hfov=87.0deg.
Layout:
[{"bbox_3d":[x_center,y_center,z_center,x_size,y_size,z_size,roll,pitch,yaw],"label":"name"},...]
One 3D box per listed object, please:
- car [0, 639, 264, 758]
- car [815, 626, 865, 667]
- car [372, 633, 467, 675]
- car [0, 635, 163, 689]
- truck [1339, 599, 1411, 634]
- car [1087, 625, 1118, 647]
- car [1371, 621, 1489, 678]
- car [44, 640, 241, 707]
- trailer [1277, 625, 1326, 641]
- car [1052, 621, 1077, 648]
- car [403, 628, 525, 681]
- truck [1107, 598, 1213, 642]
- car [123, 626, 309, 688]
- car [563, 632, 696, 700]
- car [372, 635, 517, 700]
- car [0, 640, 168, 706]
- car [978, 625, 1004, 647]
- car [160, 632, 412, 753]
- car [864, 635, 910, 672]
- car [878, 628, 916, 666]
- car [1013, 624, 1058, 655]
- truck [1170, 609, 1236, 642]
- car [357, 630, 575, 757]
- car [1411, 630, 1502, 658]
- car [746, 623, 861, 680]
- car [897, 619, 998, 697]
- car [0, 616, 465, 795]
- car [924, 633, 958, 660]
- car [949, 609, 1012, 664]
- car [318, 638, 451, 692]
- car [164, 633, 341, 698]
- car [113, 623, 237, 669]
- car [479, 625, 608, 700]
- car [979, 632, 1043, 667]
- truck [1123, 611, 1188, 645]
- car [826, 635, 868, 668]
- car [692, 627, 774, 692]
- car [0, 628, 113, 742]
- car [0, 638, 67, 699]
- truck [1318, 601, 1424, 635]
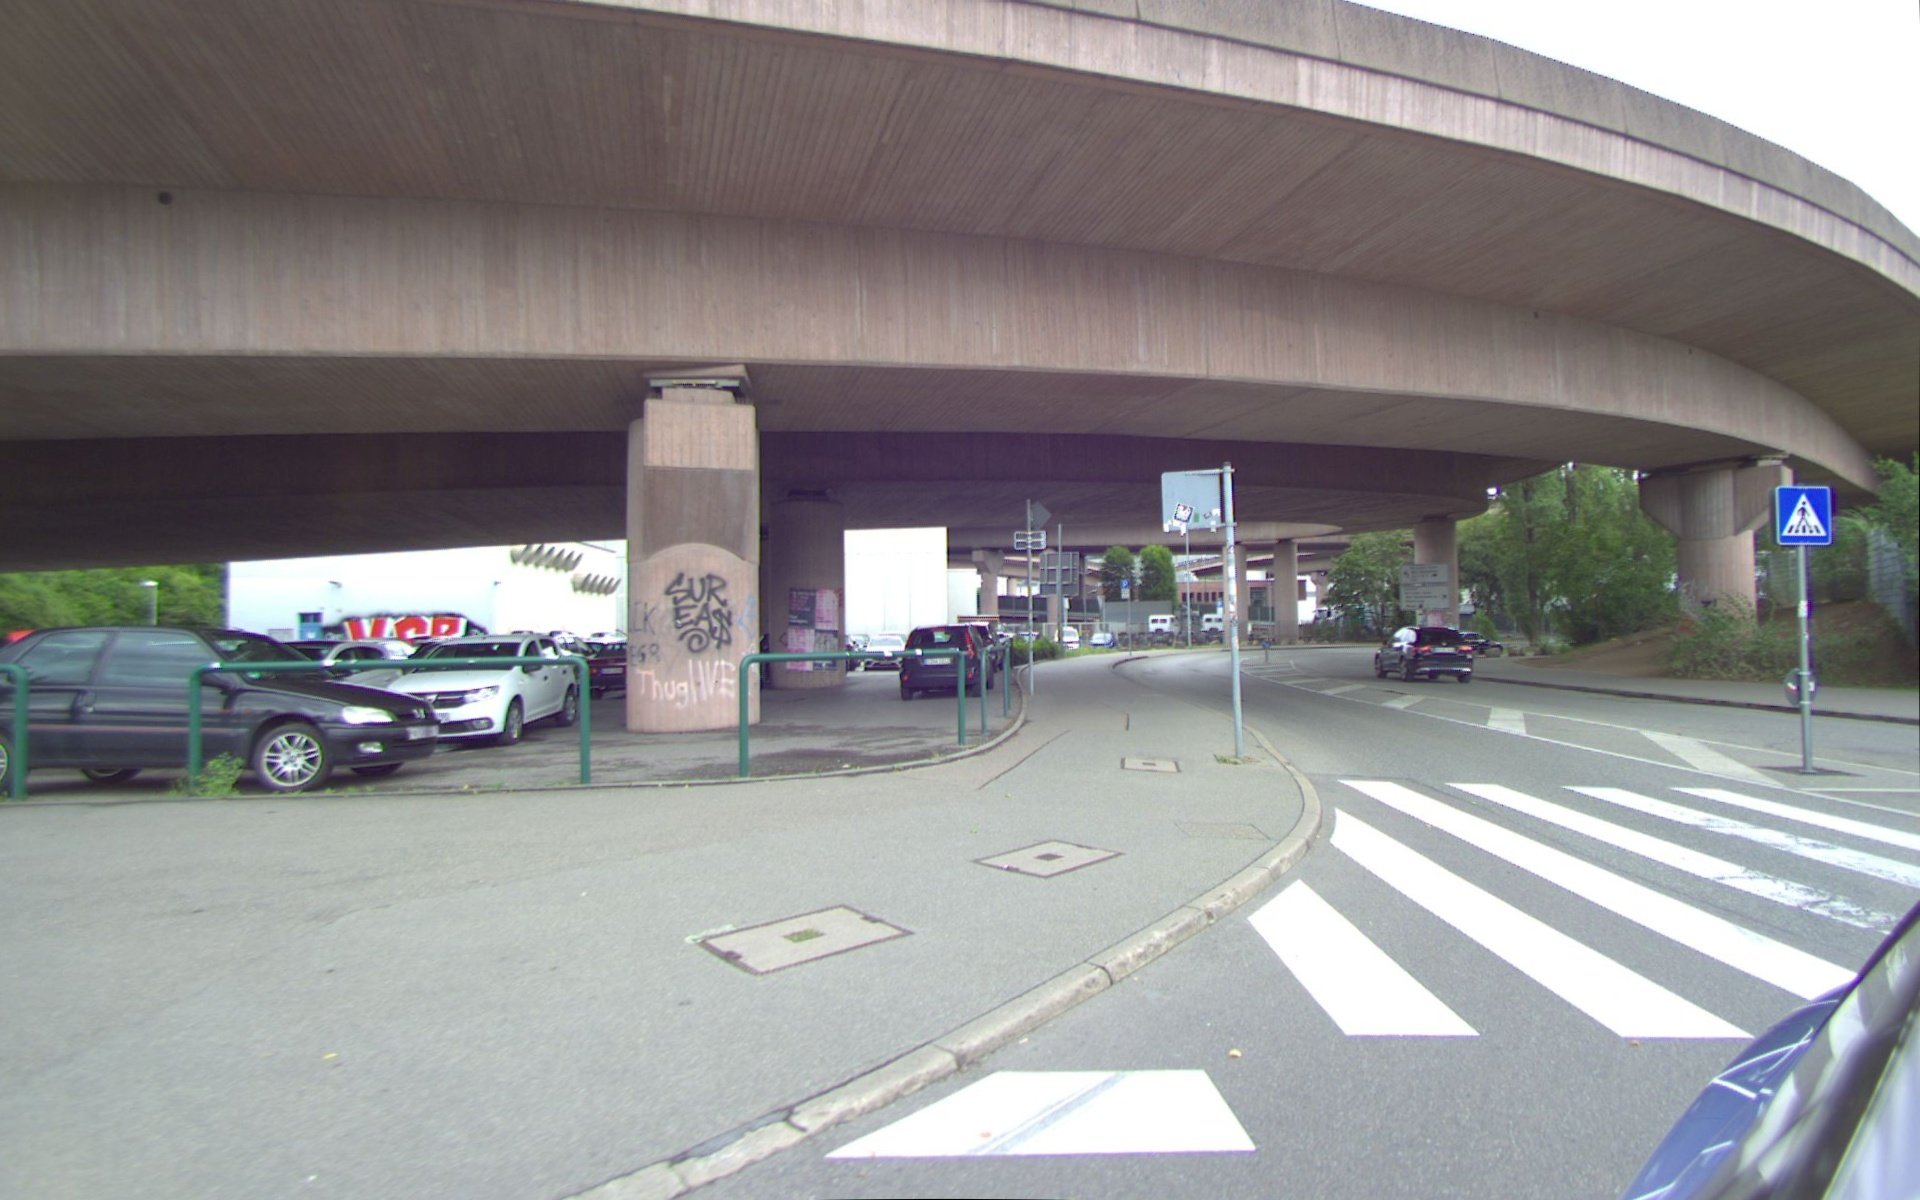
[{"bbox_3d":[-12.035,1.317,14.713,1.663,1.462,3.867,0,-2,-9],"label":"car"},{"bbox_3d":[-4.904,1.896,41.946,1.802,1.613,4.193,0,-2,-3],"label":"car"},{"bbox_3d":[-21.842,2.155,41.108,1.802,1.613,4.193,0,-2,-3],"label":"car"},{"bbox_3d":[-26.585,1.826,30.604,1.802,1.485,4.193,0,-2,-3],"label":"car"},{"bbox_3d":[41.940,1.641,102.401,6.296,3.452,2.268,0,-1,4],"label":"truck"},{"bbox_3d":[10.781,2.692,76.392,1.750,1.656,4.661,0,-2,16],"label":"car"},{"bbox_3d":[14.182,1.457,30.841,1.813,1.594,4.541,0,-1,6],"label":"car"},{"bbox_3d":[-19.702,1.725,24.628,1.802,1.446,3.863,0,-2,-3],"label":"car"},{"bbox_3d":[30.809,2.966,91.158,4.292,1.348,1.608,0,-1,-26],"label":"trailer"},{"bbox_3d":[7.930,2.601,76.899,1.861,1.982,4.671,0,-2,6],"label":"car"},{"bbox_3d":[-14.874,1.608,30.624,1.802,1.485,4.193,0,-2,-3],"label":"car"},{"bbox_3d":[20.359,2.083,103.589,9.943,4.423,3.912,0,-3,0],"label":"truck"},{"bbox_3d":[-22.226,1.648,30.562,2.050,1.699,5.107,0,-2,-3],"label":"car"},{"bbox_3d":[-8.113,1.572,25.286,1.804,1.489,4.377,-2,-2,1],"label":"car"},{"bbox_3d":[-12.724,1.622,25.249,1.802,1.446,3.863,0,-2,-3],"label":"car"},{"bbox_3d":[-21.662,1.729,24.767,1.646,1.446,3.863,0,-2,-3],"label":"car"},{"bbox_3d":[2.305,2.687,75.627,1.741,1.608,4.360,0,-2,-1],"label":"car"},{"bbox_3d":[-9.778,1.257,15.072,1.663,1.529,3.867,0,-2,-9],"label":"car"},{"bbox_3d":[-3.033,2.201,42.463,1.802,1.440,4.193,0,-2,-3],"label":"car"},{"bbox_3d":[-2.953,2.180,47.757,1.711,1.697,4.471,0,-2,-3],"label":"car"},{"bbox_3d":[3.771,1.943,49.985,1.525,1.498,2.741,-1,-2,21],"label":"car"},{"bbox_3d":[21.234,2.255,88.284,2.415,2.780,7.123,-2,-3,42],"label":"truck"},{"bbox_3d":[-7.022,1.238,14.858,1.606,1.572,4.015,0,-2,-6],"label":"car"},{"bbox_3d":[27.266,2.426,55.559,4.674,1.449,1.830,0,-4,-23],"label":"car"},{"bbox_3d":[-4.649,1.510,30.642,1.769,1.526,3.832,-2,-1,20],"label":"car"},{"bbox_3d":[-0.180,1.152,20.958,1.584,1.415,3.571,-2,-2,7],"label":"car"},{"bbox_3d":[-6.435,0.866,8.680,3.627,1.347,1.510,-1,-4,-3],"label":"car"},{"bbox_3d":[-1.154,2.634,58.527,1.822,1.494,4.687,0,-2,-2],"label":"car"},{"bbox_3d":[0.684,1.130,31.290,1.584,1.553,3.402,-2,-2,7],"label":"car"},{"bbox_3d":[-17.228,1.901,30.547,1.802,1.485,4.193,0,-2,-3],"label":"car"},{"bbox_3d":[-17.222,1.550,24.885,1.802,1.446,3.863,0,-2,-3],"label":"car"},{"bbox_3d":[-31.033,1.802,40.165,1.802,1.710,4.193,0,-2,-3],"label":"car"},{"bbox_3d":[-10.261,1.497,25.235,1.802,1.720,3.863,0,-2,-3],"label":"car"},{"bbox_3d":[2.384,2.201,46.084,1.714,1.498,4.219,-1,-2,20],"label":"car"},{"bbox_3d":[17.247,2.455,89.141,6.013,2.924,2.453,1,-3,-42],"label":"truck"},{"bbox_3d":[-5.290,2.381,47.755,1.722,1.467,4.460,0,-2,-3],"label":"car"},{"bbox_3d":[-5.809,1.490,26.183,1.500,1.519,3.375,-2,-2,-3],"label":"car"},{"bbox_3d":[-14.200,1.189,14.295,1.663,1.576,3.867,0,-2,-9],"label":"car"},{"bbox_3d":[-23.805,1.661,24.278,1.646,1.446,3.664,0,-2,-3],"label":"car"},{"bbox_3d":[42.856,1.882,105.621,10.024,3.543,2.270,0,-1,1],"label":"truck"}]
